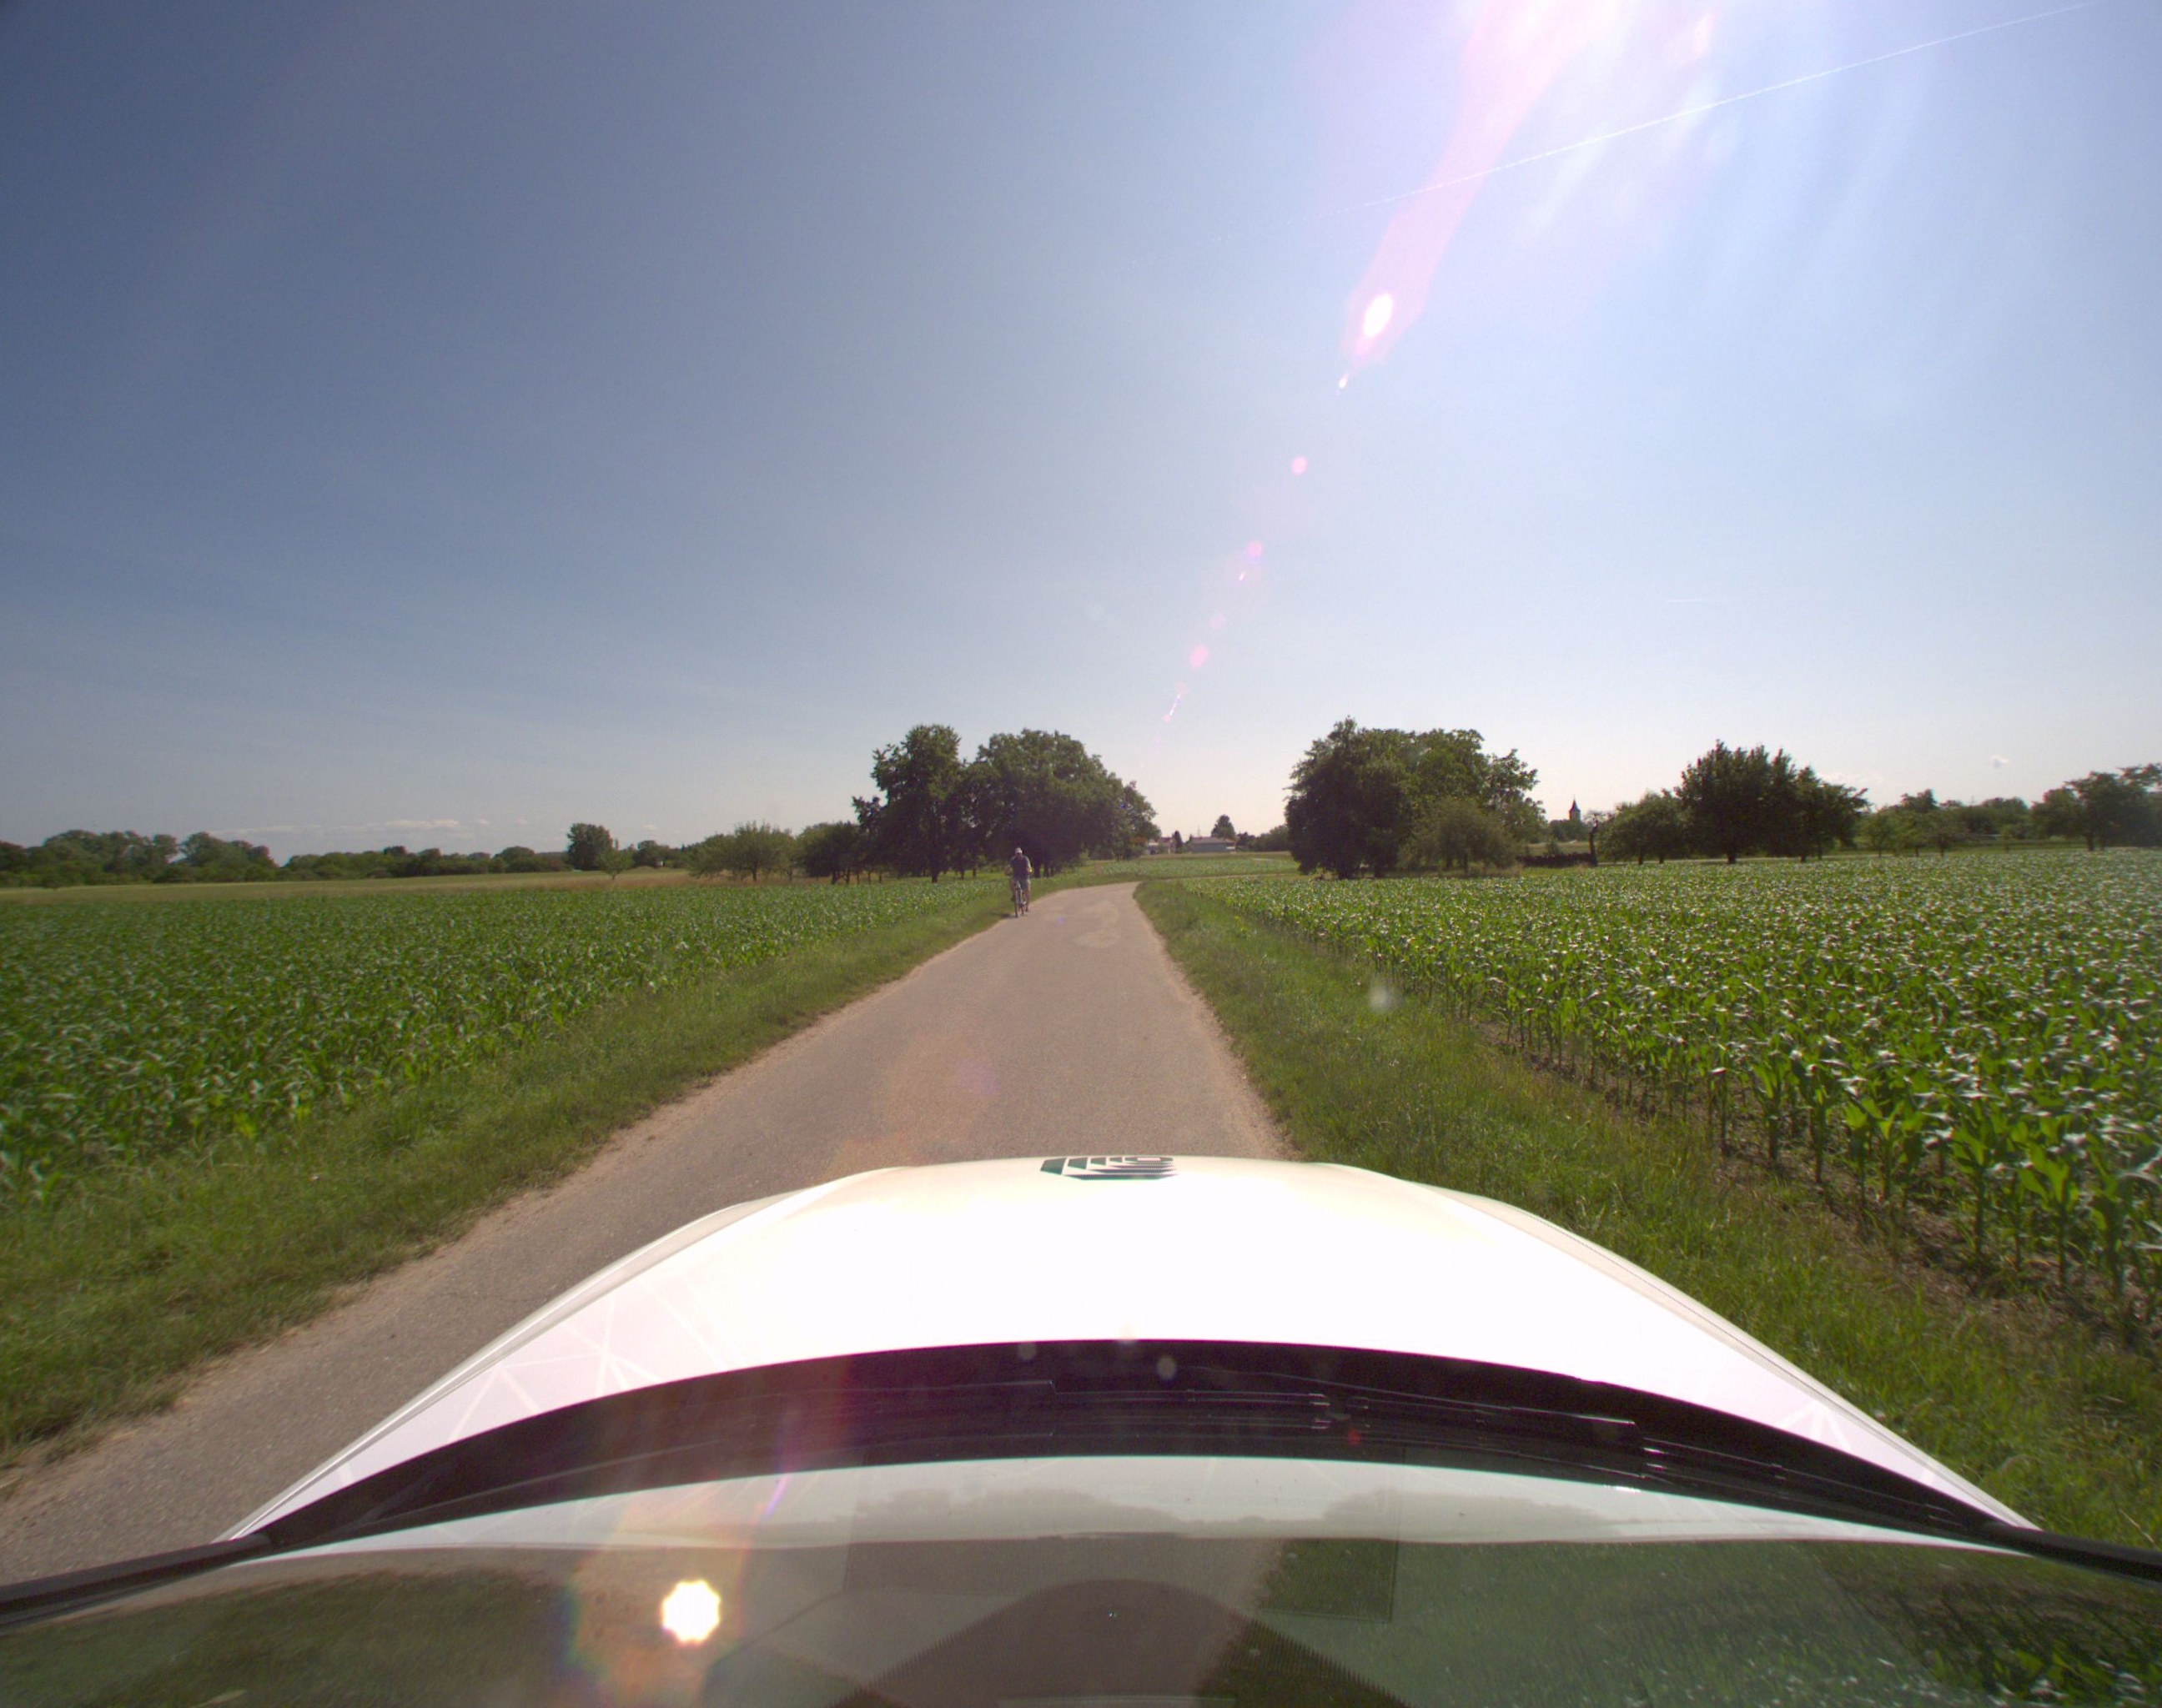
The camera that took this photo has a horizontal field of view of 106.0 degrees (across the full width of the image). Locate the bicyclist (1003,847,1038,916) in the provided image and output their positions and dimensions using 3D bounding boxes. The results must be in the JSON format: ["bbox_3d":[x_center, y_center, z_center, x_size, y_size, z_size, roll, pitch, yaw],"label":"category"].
[{"bbox_3d":[-1.625,0.722,21.902,0.747,1.791,0.717,-3,-1,2],"label":"bicyclist"}]

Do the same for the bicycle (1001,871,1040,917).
[{"bbox_3d":[-1.610,1.048,21.942,0.747,1.127,1.910,-3,0,3],"label":"bicycle"}]
